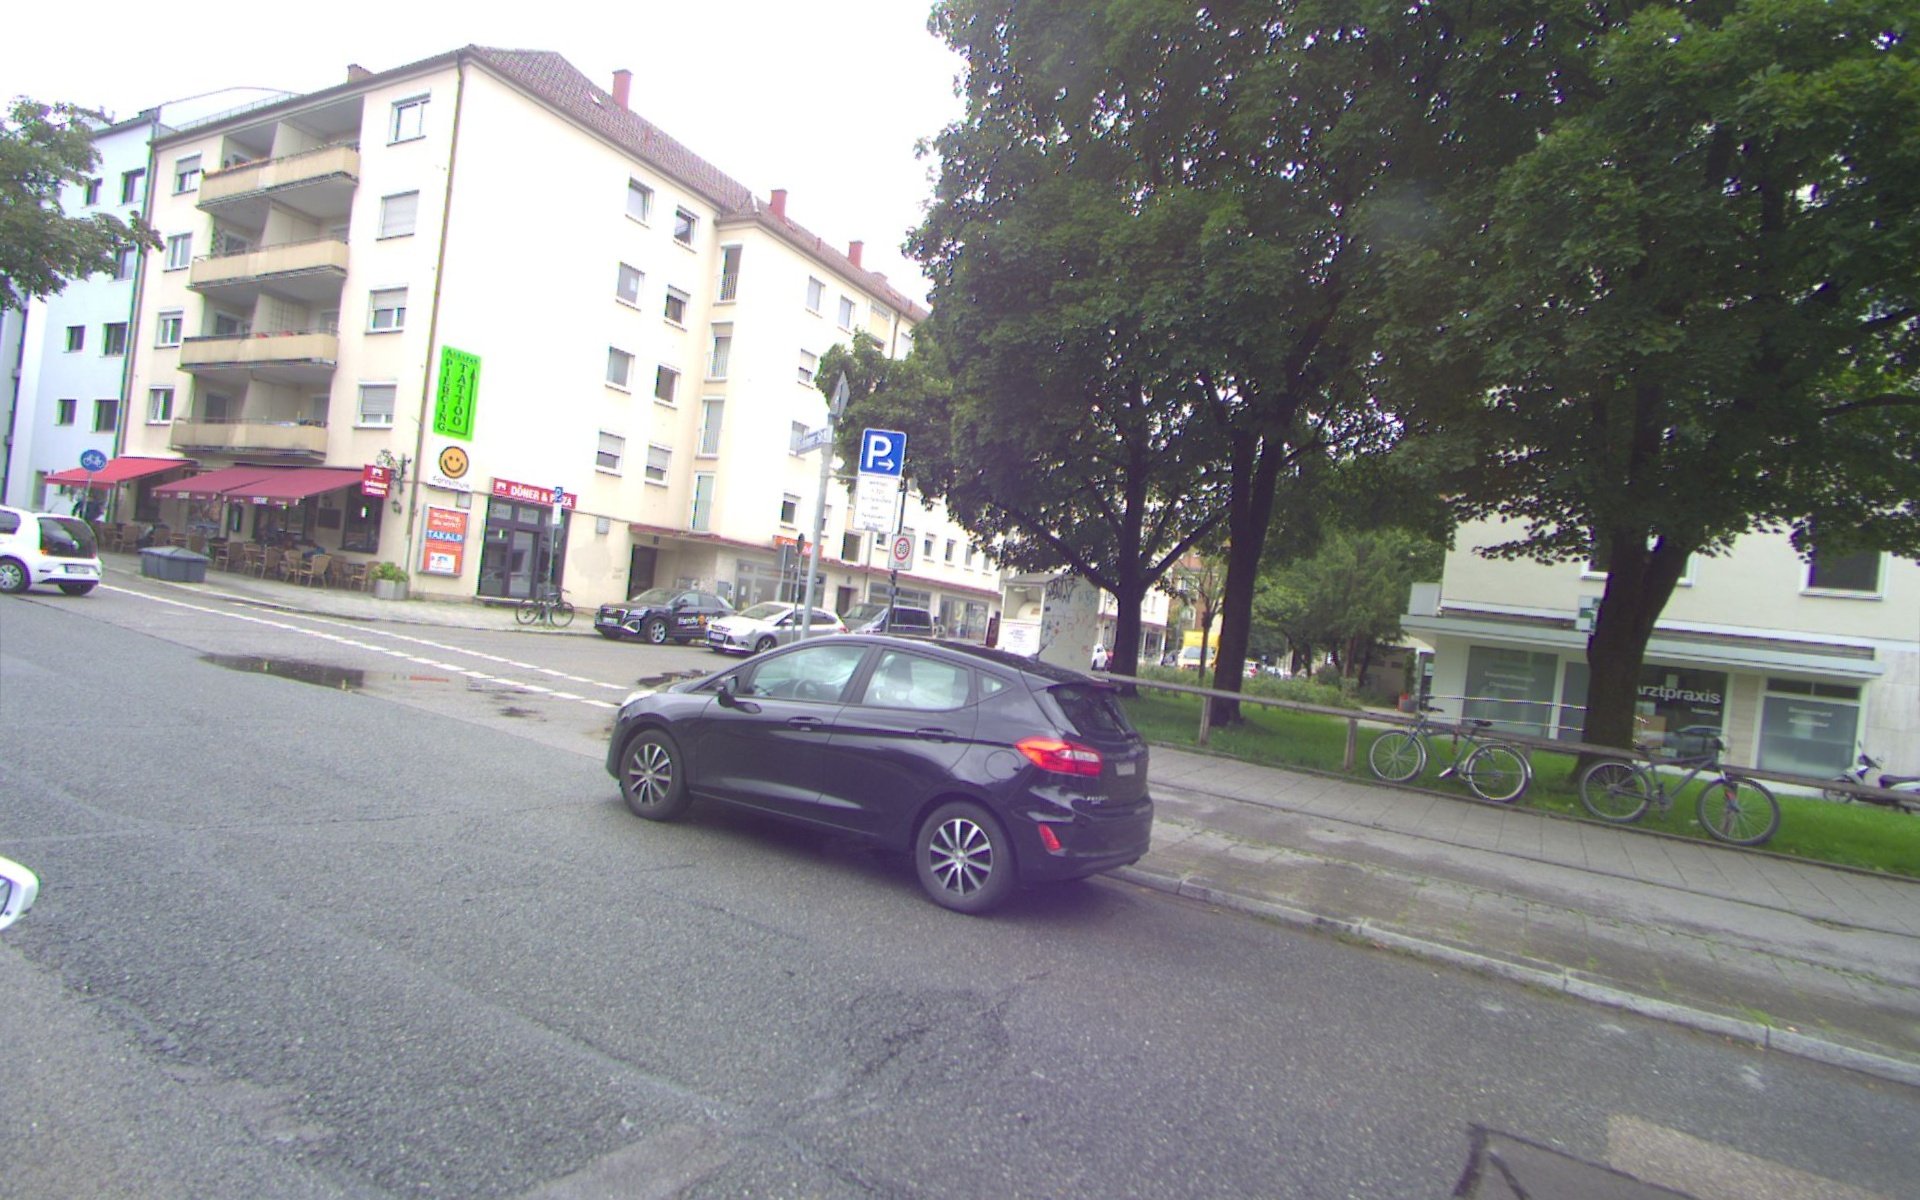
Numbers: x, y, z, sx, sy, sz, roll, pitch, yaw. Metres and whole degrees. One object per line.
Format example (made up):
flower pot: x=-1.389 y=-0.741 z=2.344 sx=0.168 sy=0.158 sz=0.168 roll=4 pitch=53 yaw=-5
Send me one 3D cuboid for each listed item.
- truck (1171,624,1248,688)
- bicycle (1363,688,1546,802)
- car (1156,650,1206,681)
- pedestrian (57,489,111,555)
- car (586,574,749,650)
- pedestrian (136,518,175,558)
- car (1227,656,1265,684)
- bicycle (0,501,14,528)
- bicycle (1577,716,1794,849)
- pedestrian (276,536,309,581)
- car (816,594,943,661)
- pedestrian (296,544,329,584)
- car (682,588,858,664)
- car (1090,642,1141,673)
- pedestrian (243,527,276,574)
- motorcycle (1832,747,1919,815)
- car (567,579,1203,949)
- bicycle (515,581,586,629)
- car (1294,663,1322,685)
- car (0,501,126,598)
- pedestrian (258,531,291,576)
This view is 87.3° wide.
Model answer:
truck: x=12.892 y=2.956 z=51.636 sx=2.236 sy=2.803 sz=6.765 roll=7 pitch=-1 yaw=26
bicycle: x=5.847 y=1.690 z=11.960 sx=1.822 sy=1.027 sz=0.448 roll=7 pitch=0 yaw=32
car: x=15.715 y=4.688 z=71.337 sx=1.966 sy=1.806 sz=4.994 roll=7 pitch=-1 yaw=29
pedestrian: x=-28.095 y=-2.499 z=32.257 sx=0.747 sy=1.952 sz=0.871 roll=7 pitch=0 yaw=15
car: x=-7.619 y=0.358 z=26.534 sx=1.701 sy=1.537 sz=3.933 roll=7 pitch=-1 yaw=29
pedestrian: x=-26.739 y=-2.058 z=33.426 sx=0.636 sy=1.177 sz=0.745 roll=7 pitch=0 yaw=31
car: x=20.172 y=4.941 z=70.818 sx=1.573 sy=1.638 sz=3.764 roll=7 pitch=-1 yaw=30
bicycle: x=-39.877 y=-3.585 z=41.534 sx=2.159 sy=1.061 sz=0.621 roll=7 pitch=3 yaw=32
bicycle: x=7.648 y=1.898 z=10.702 sx=1.738 sy=1.067 sz=0.470 roll=6 pitch=-2 yaw=31
pedestrian: x=-19.771 y=-1.236 z=29.795 sx=0.479 sy=1.229 sz=0.539 roll=7 pitch=0 yaw=31
car: x=-2.791 y=1.051 z=36.247 sx=1.966 sy=1.907 sz=4.994 roll=7 pitch=-1 yaw=29
pedestrian: x=-18.561 y=-1.033 z=28.853 sx=0.479 sy=1.066 sz=0.539 roll=7 pitch=0 yaw=31
car: x=-4.811 y=0.724 z=26.052 sx=1.968 sy=1.459 sz=4.213 roll=7 pitch=-2 yaw=34
car: x=9.057 y=3.347 z=58.532 sx=1.573 sy=1.459 sz=3.764 roll=7 pitch=-1 yaw=29
pedestrian: x=-21.565 y=-1.530 z=30.983 sx=0.543 sy=1.355 sz=0.539 roll=7 pitch=0 yaw=30
motorcycle: x=18.953 y=3.704 z=20.500 sx=1.595 sy=1.133 sz=0.605 roll=7 pitch=0 yaw=32
car: x=-0.598 y=0.880 z=6.764 sx=3.890 sy=1.494 sz=1.647 roll=7 pitch=-1 yaw=31
bicycle: x=-10.463 y=0.140 z=25.742 sx=0.545 sy=1.023 sz=1.541 roll=7 pitch=-1 yaw=34
car: x=31.421 y=6.675 z=90.768 sx=1.573 sy=1.638 sz=3.764 roll=7 pitch=-1 yaw=30
car: x=-17.230 y=-1.021 z=17.737 sx=3.376 sy=1.507 sz=1.690 roll=8 pitch=-1 yaw=-7
pedestrian: x=-20.614 y=-1.397 z=30.253 sx=0.478 sy=1.283 sz=0.539 roll=7 pitch=0 yaw=30
